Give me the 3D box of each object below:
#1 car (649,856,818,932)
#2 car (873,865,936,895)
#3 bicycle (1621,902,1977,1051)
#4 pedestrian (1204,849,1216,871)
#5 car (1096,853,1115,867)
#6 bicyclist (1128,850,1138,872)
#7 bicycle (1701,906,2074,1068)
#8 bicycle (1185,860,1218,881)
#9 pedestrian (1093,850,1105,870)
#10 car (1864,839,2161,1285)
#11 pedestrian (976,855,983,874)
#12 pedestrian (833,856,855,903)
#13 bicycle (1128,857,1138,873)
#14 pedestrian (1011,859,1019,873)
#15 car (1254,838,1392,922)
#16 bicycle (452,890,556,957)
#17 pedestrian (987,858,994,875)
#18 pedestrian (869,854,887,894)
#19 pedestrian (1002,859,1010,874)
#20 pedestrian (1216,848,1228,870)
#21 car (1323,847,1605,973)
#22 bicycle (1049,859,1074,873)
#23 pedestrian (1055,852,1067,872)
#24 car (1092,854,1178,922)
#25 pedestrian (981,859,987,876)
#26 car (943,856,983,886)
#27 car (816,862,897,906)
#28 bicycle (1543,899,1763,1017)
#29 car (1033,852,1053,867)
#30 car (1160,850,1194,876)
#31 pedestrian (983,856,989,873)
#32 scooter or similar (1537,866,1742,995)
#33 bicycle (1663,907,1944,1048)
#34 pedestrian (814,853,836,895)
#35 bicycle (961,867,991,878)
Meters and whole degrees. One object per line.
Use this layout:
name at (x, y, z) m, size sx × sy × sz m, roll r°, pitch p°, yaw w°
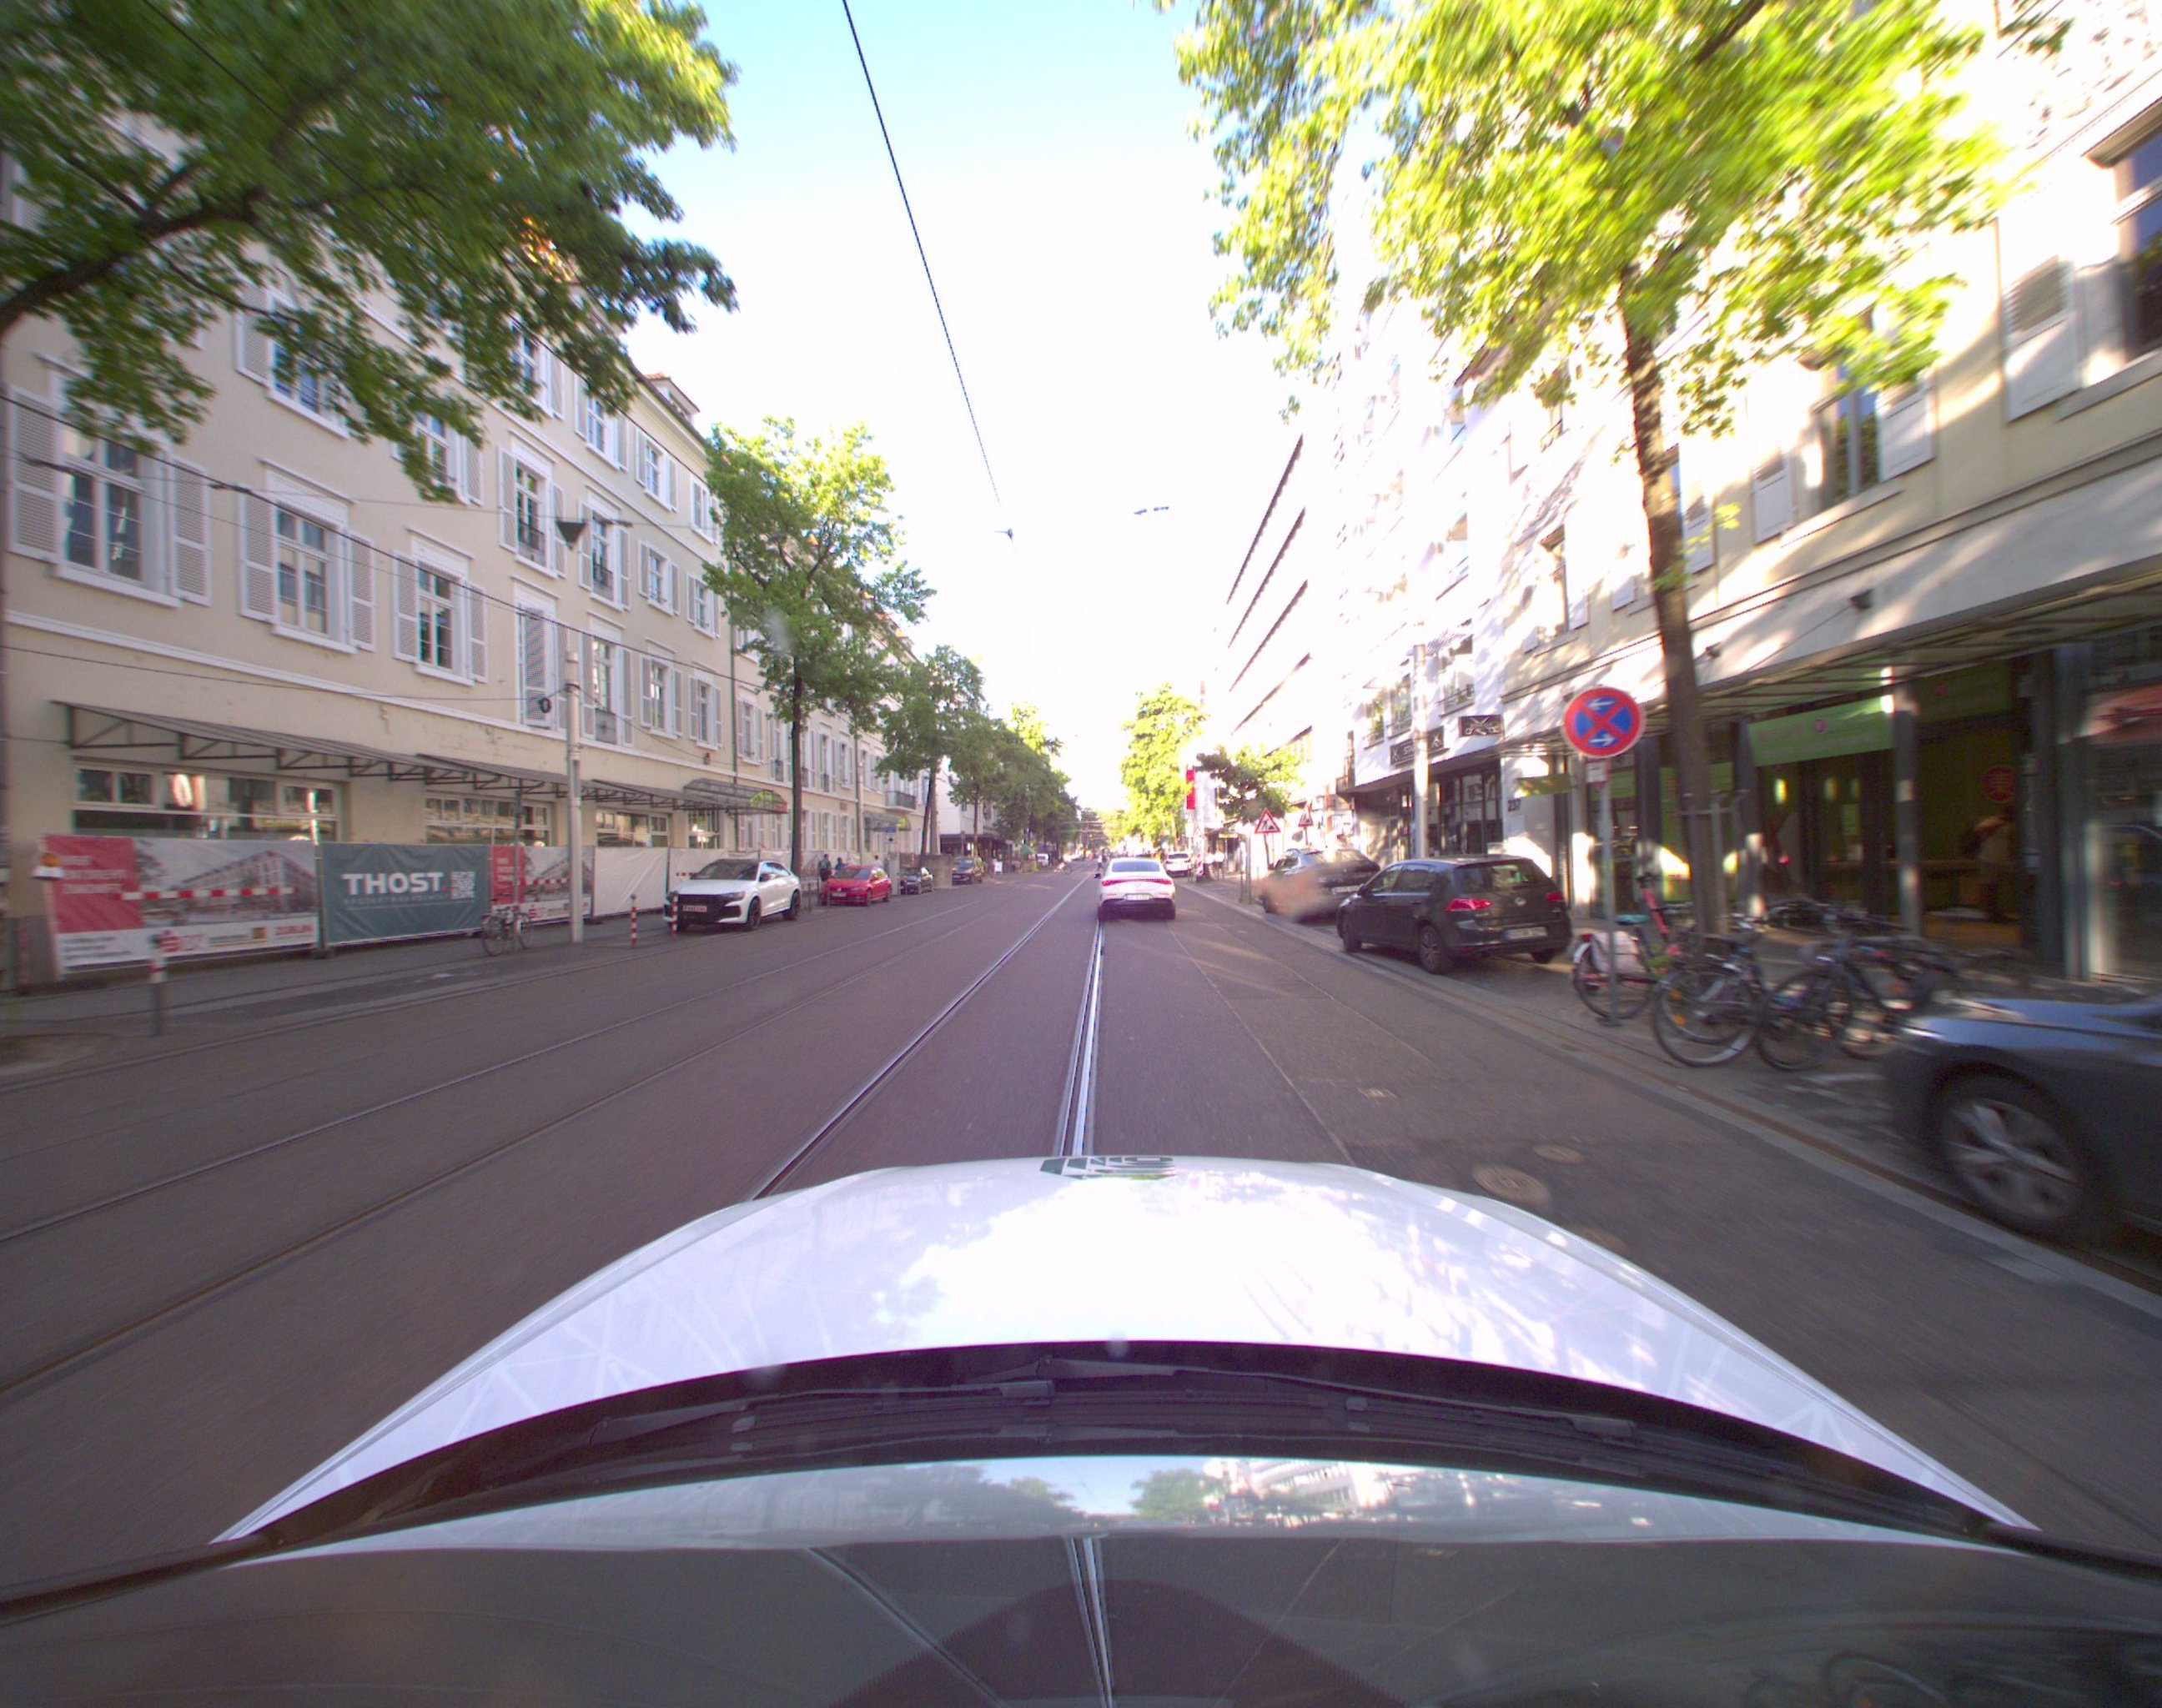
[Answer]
car at (-8.671, 0.923, 20.934) m, size 1.953 × 1.692 × 5.017 m, roll -1°, pitch 0°, yaw 3°
car at (-8.456, 1.210, 39.359) m, size 1.986 × 1.292 × 4.002 m, roll -1°, pitch 0°, yaw 2°
bicycle at (4.895, 0.844, 5.618) m, size 2.026 × 0.964 × 0.282 m, roll -2°, pitch 0°, yaw 6°
pedestrian at (10.519, 0.461, 66.368) m, size 0.799 × 1.774 × 0.680 m, roll -1°, pitch 0°, yaw -10°
car at (5.568, 1.382, 185.910) m, size 4.024 × 3.114 × 8.434 m, roll -2°, pitch -1°, yaw 2°
bicyclist at (4.119, 0.558, 64.351) m, size 0.722 × 1.702 × 0.811 m, roll -1°, pitch -1°, yaw 2°
bicycle at (5.134, 0.848, 5.247) m, size 1.886 × 0.964 × 0.332 m, roll -2°, pitch 0°, yaw 6°
bicycle at (6.675, 0.915, 45.111) m, size 1.714 × 1.062 × 0.581 m, roll -2°, pitch 0°, yaw 5°
pedestrian at (1.640, 0.568, 75.879) m, size 0.920 × 1.774 × 0.870 m, roll -1°, pitch 0°, yaw -13°
car at (4.515, 0.680, 1.694) m, size 1.863 × 1.453 × 4.108 m, roll -4°, pitch 0°, yaw 2°
pedestrian at (-10.011, 0.988, 80.507) m, size 0.515 × 1.855 × 0.650 m, roll -1°, pitch 0°, yaw 1°
pedestrian at (-10.379, 1.113, 35.664) m, size 0.705 × 2.004 × 0.675 m, roll -1°, pitch 0°, yaw -2°
bicycle at (4.130, 0.856, 64.541) m, size 0.737 × 1.188 × 2.162 m, roll -2°, pitch -1°, yaw 3°
pedestrian at (-6.819, 1.231, 83.768) m, size 0.519 × 1.478 × 0.644 m, roll -4°, pitch -1°, yaw -26°
car at (5.597, 0.550, 19.549) m, size 1.986 × 1.713 × 4.868 m, roll -1°, pitch 0°, yaw 2°
bicycle at (-10.458, 1.222, 14.861) m, size 0.592 × 1.050 × 2.005 m, roll -2°, pitch 0°, yaw -5°
pedestrian at (-8.839, 1.211, 79.382) m, size 0.515 × 1.616 × 0.650 m, roll -1°, pitch 0°, yaw 1°
pedestrian at (-10.305, 1.018, 41.338) m, size 0.705 × 2.004 × 0.675 m, roll -1°, pitch 0°, yaw -2°
pedestrian at (-7.599, 1.259, 82.211) m, size 0.564 × 1.464 × 0.653 m, roll -2°, pitch 0°, yaw 21°
pedestrian at (11.472, 0.429, 66.240) m, size 0.799 × 1.774 × 0.680 m, roll -1°, pitch 0°, yaw -10°
car at (5.147, 0.663, 11.634) m, size 1.835 × 1.436 × 3.992 m, roll -1°, pitch 0°, yaw -6°
bicycle at (-1.731, 1.017, 71.332) m, size 2.050 × 1.135 × 0.870 m, roll -1°, pitch 0°, yaw -13°
pedestrian at (-1.768, 0.712, 71.324) m, size 0.920 × 1.774 × 0.870 m, roll -1°, pitch 0°, yaw -13°
car at (1.237, 0.760, 20.168) m, size 1.862 × 1.469 × 4.042 m, roll -1°, pitch 0°, yaw 0°
pedestrian at (-10.125, 1.386, 84.914) m, size 0.515 × 1.781 × 0.609 m, roll -1°, pitch 0°, yaw 0°
car at (-7.558, 1.056, 52.518) m, size 1.543 × 1.796 × 3.176 m, roll -2°, pitch 0°, yaw 10°
car at (-8.441, 1.086, 31.037) m, size 1.681 × 1.499 × 4.237 m, roll -1°, pitch 0°, yaw 3°
bicycle at (5.026, 0.910, 7.215) m, size 1.530 × 0.964 × 0.497 m, roll -2°, pitch 0°, yaw 6°
car at (-5.334, 0.808, 115.098) m, size 1.981 × 2.013 × 4.011 m, roll -2°, pitch 0°, yaw 10°
car at (6.587, 0.603, 56.276) m, size 1.986 × 1.728 × 4.243 m, roll -2°, pitch 0°, yaw 2°
pedestrian at (-9.504, 1.026, 81.473) m, size 0.515 × 1.653 × 0.650 m, roll -1°, pitch 0°, yaw 1°
scooter or similar at (5.519, 0.741, 8.118) m, size 1.530 × 1.196 × 0.676 m, roll -2°, pitch 0°, yaw 6°
bicycle at (5.333, 0.904, 6.082) m, size 1.529 × 0.964 × 0.497 m, roll -2°, pitch 0°, yaw 8°
pedestrian at (-11.201, 0.865, 35.659) m, size 0.706 × 1.806 × 0.675 m, roll -1°, pitch 0°, yaw -4°
bicycle at (-8.123, 1.439, 62.798) m, size 2.232 × 0.830 × 0.721 m, roll -2°, pitch 0°, yaw 24°
